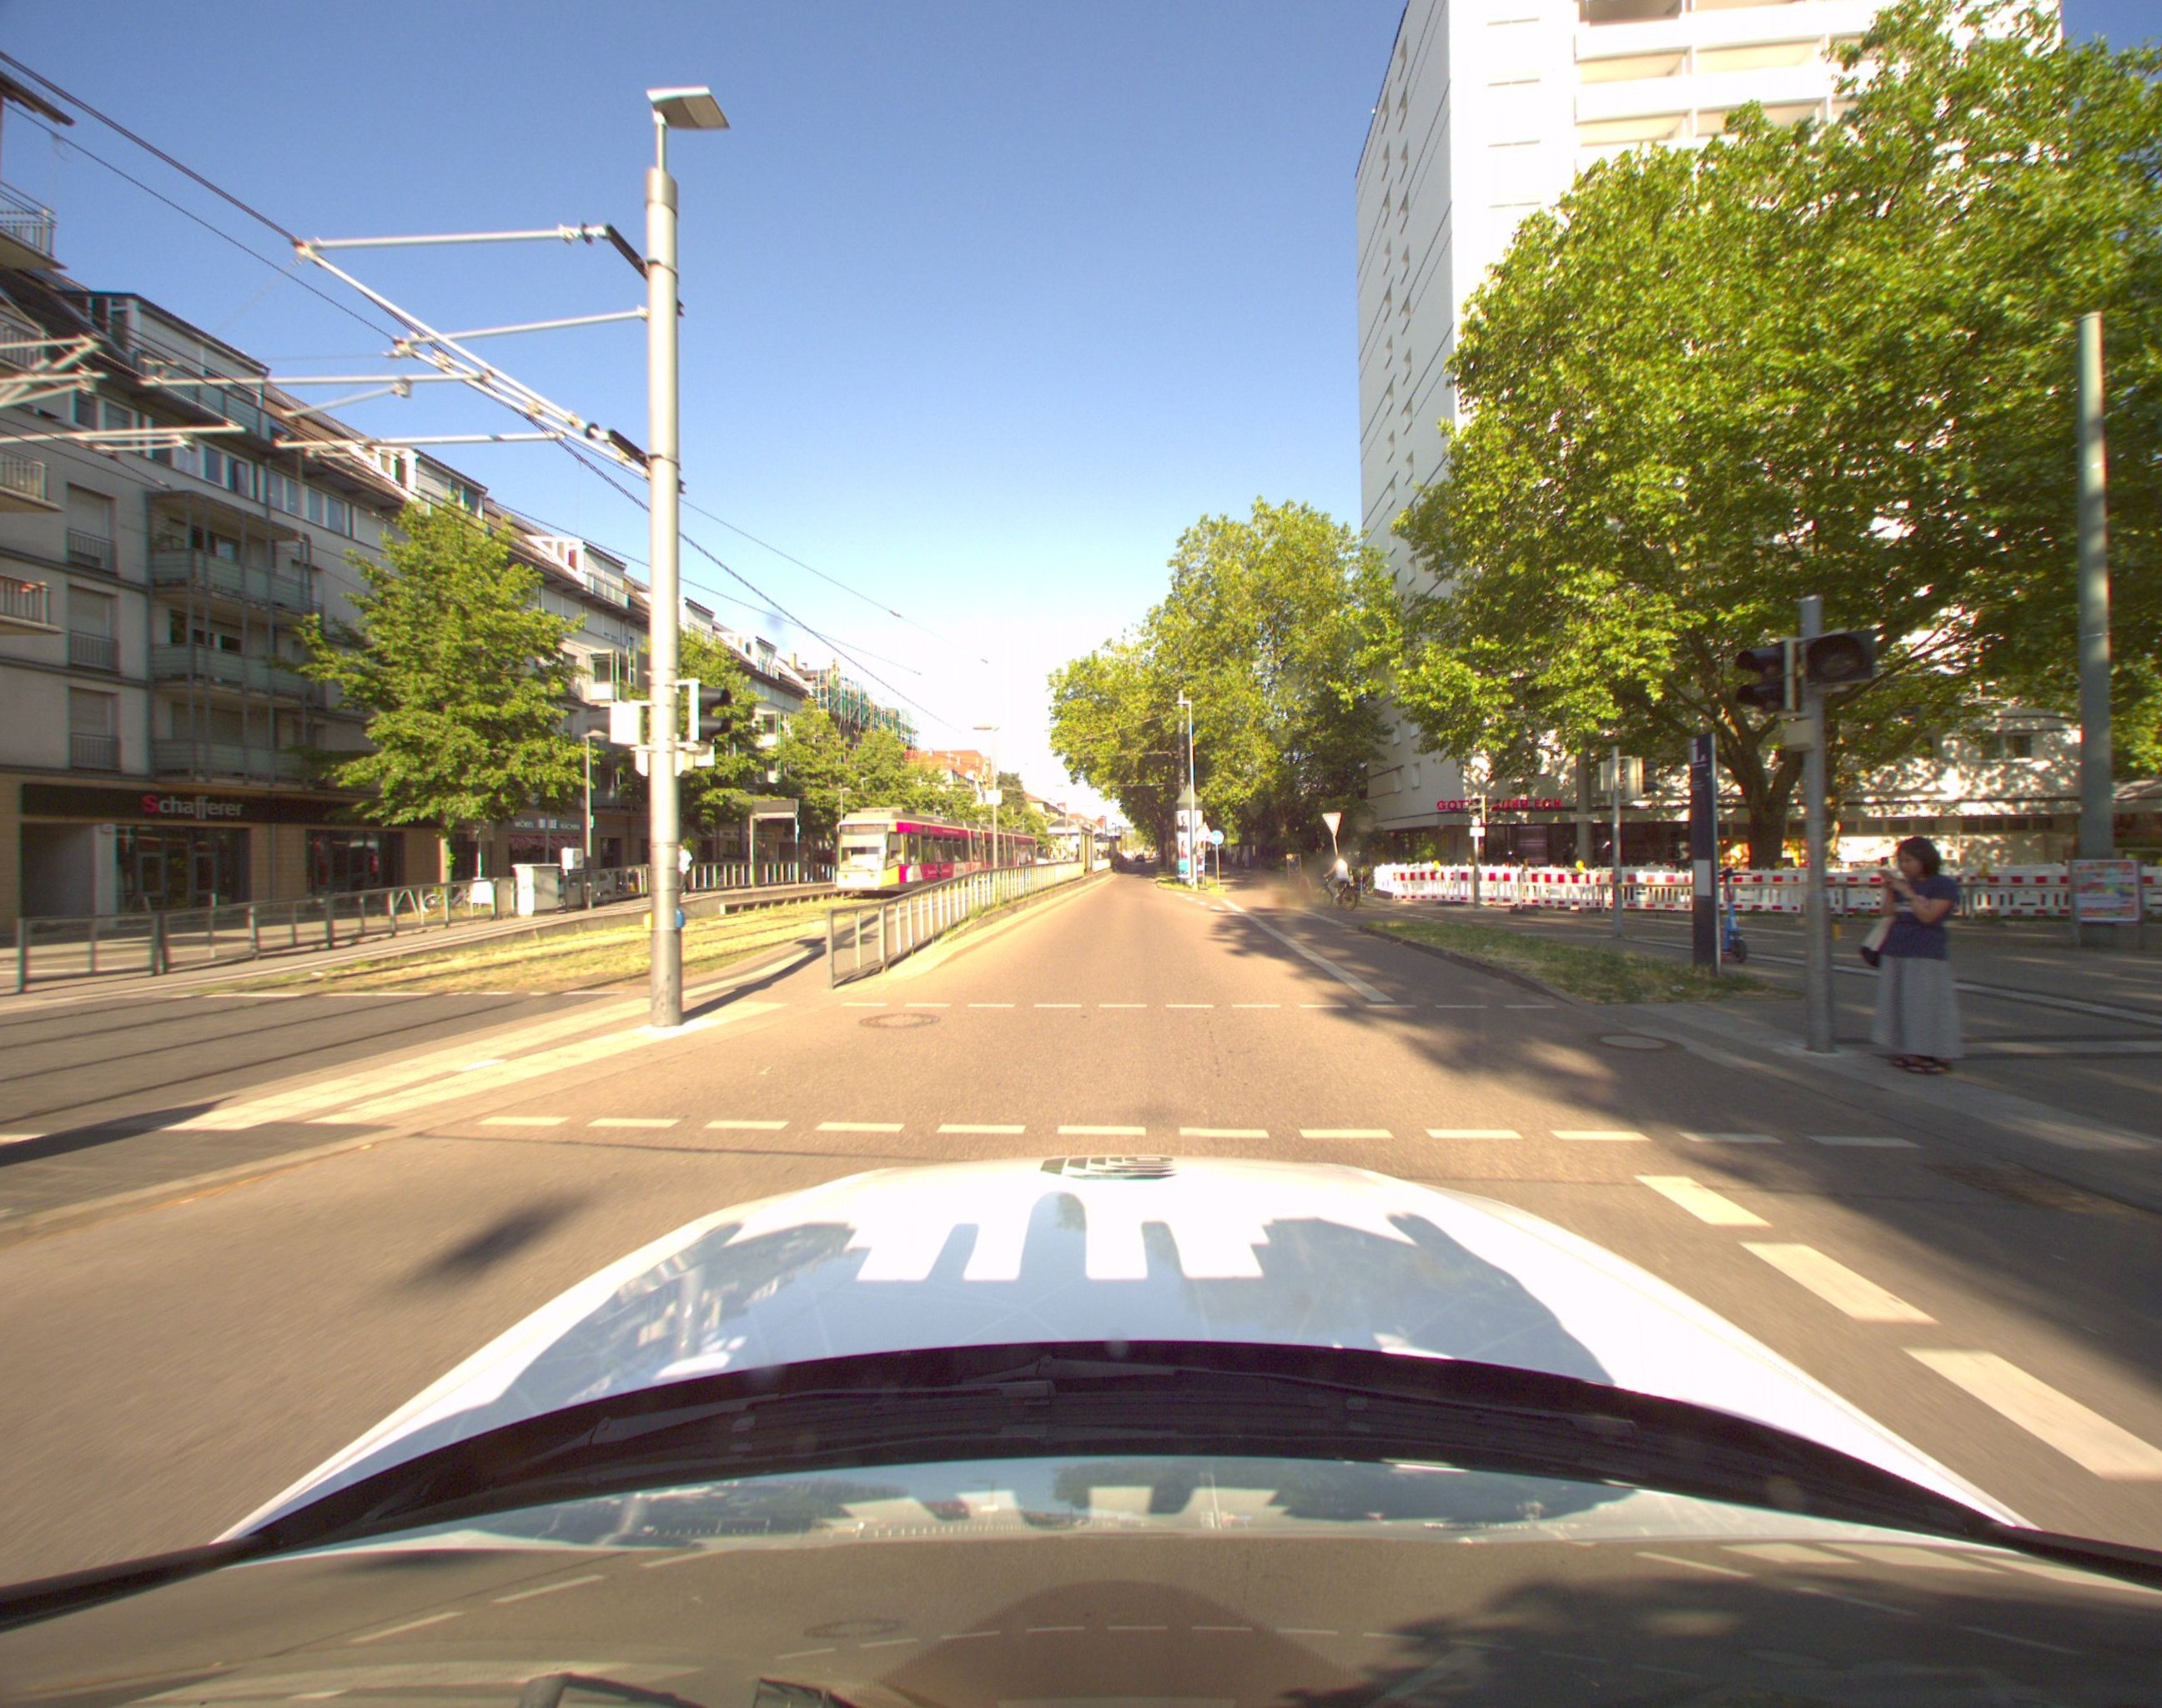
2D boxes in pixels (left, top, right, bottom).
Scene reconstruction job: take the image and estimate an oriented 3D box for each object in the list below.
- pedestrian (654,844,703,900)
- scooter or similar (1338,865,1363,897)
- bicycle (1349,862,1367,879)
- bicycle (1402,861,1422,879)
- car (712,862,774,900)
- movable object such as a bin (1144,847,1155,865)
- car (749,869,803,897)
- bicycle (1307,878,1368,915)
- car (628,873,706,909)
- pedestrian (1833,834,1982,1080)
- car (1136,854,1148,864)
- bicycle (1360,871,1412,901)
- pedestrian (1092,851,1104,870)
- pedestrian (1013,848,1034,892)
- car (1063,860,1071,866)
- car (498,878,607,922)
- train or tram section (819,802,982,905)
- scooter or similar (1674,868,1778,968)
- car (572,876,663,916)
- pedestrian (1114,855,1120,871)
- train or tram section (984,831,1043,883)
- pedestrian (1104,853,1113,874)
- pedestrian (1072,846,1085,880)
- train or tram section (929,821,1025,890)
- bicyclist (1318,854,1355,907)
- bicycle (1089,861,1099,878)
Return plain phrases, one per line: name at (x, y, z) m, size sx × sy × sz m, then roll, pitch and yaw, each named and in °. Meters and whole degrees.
pedestrian at (-11.874, 0.521, 24.033) m, size 0.896 × 1.581 × 0.959 m, roll 1°, pitch -1°, yaw 2°
scooter or similar at (10.993, 1.095, 33.225) m, size 0.558 × 1.257 × 1.290 m, roll -2°, pitch -1°, yaw 1°
bicycle at (19.763, 1.137, 58.105) m, size 0.785 × 1.177 × 1.823 m, roll 1°, pitch 0°, yaw 5°
bicycle at (23.430, 1.124, 57.700) m, size 0.785 × 1.177 × 1.823 m, roll 1°, pitch 0°, yaw 5°
car at (-20.393, 1.569, 49.303) m, size 1.931 × 2.166 × 3.789 m, roll 1°, pitch 0°, yaw 4°
movable object such as a bin at (21.381, 0.636, 254.819) m, size 3.073 × 5.088 × 8.902 m, roll -4°, pitch -1°, yaw 4°
car at (-19.997, 1.855, 53.556) m, size 1.798 × 1.729 × 3.789 m, roll 1°, pitch 0°, yaw 4°
bicycle at (7.649, 1.244, 24.333) m, size 0.607 × 1.026 × 1.748 m, roll 0°, pitch -1°, yaw -32°
car at (-21.084, 1.858, 41.667) m, size 1.798 × 1.635 × 3.789 m, roll 1°, pitch 0°, yaw 4°
pedestrian at (5.811, 0.687, 5.751) m, size 0.426 × 1.639 × 0.612 m, roll 0°, pitch 0°, yaw -3°
car at (10.850, 0.922, 144.747) m, size 1.984 × 1.684 × 4.005 m, roll 1°, pitch 0°, yaw 5°
bicycle at (11.404, 1.179, 30.517) m, size 0.606 × 1.026 × 1.936 m, roll -1°, pitch 1°, yaw -27°
pedestrian at (1.544, 0.559, 73.239) m, size 0.913 × 1.722 × 0.626 m, roll 1°, pitch -1°, yaw -29°
pedestrian at (-2.156, 0.600, 30.697) m, size 0.627 × 1.609 × 0.983 m, roll 1°, pitch -1°, yaw 3°
car at (-4.159, 2.750, 242.502) m, size 2.006 × 1.754 × 4.563 m, roll 1°, pitch 1°, yaw 4°
car at (-21.680, 1.839, 33.584) m, size 1.798 × 1.578 × 3.789 m, roll 1°, pitch 0°, yaw 4°
train or tram section at (-7.440, 0.039, 36.830) m, size 2.856 × 3.676 × 14.580 m, roll -1°, pitch -1°, yaw 5°
scooter or similar at (8.688, 0.829, 11.028) m, size 0.556 × 1.257 × 1.294 m, roll -2°, pitch -1°, yaw 13°
car at (-21.370, 1.906, 37.756) m, size 1.798 × 1.677 × 3.789 m, roll 1°, pitch 0°, yaw 4°
pedestrian at (3.890, 0.937, 88.076) m, size 0.676 × 1.690 × 0.896 m, roll 1°, pitch -1°, yaw 5°
train or tram section at (-5.093, 0.264, 63.423) m, size 2.856 × 3.686 × 9.697 m, roll -1°, pitch -1°, yaw 5°
pedestrian at (2.381, 0.810, 70.805) m, size 0.761 × 1.759 × 0.696 m, roll 1°, pitch -1°, yaw 4°
pedestrian at (-0.144, 0.525, 47.447) m, size 0.666 × 1.902 × 0.825 m, roll 1°, pitch -1°, yaw 4°
train or tram section at (-6.158, 0.162, 51.335) m, size 2.856 × 3.686 × 14.580 m, roll -1°, pitch -1°, yaw 5°
bicyclist at (7.641, 0.778, 24.349) m, size 0.607 × 1.551 × 0.851 m, roll 0°, pitch -1°, yaw -32°
bicycle at (0.876, 1.007, 54.174) m, size 0.510 × 1.133 × 2.106 m, roll 1°, pitch 0°, yaw 5°
